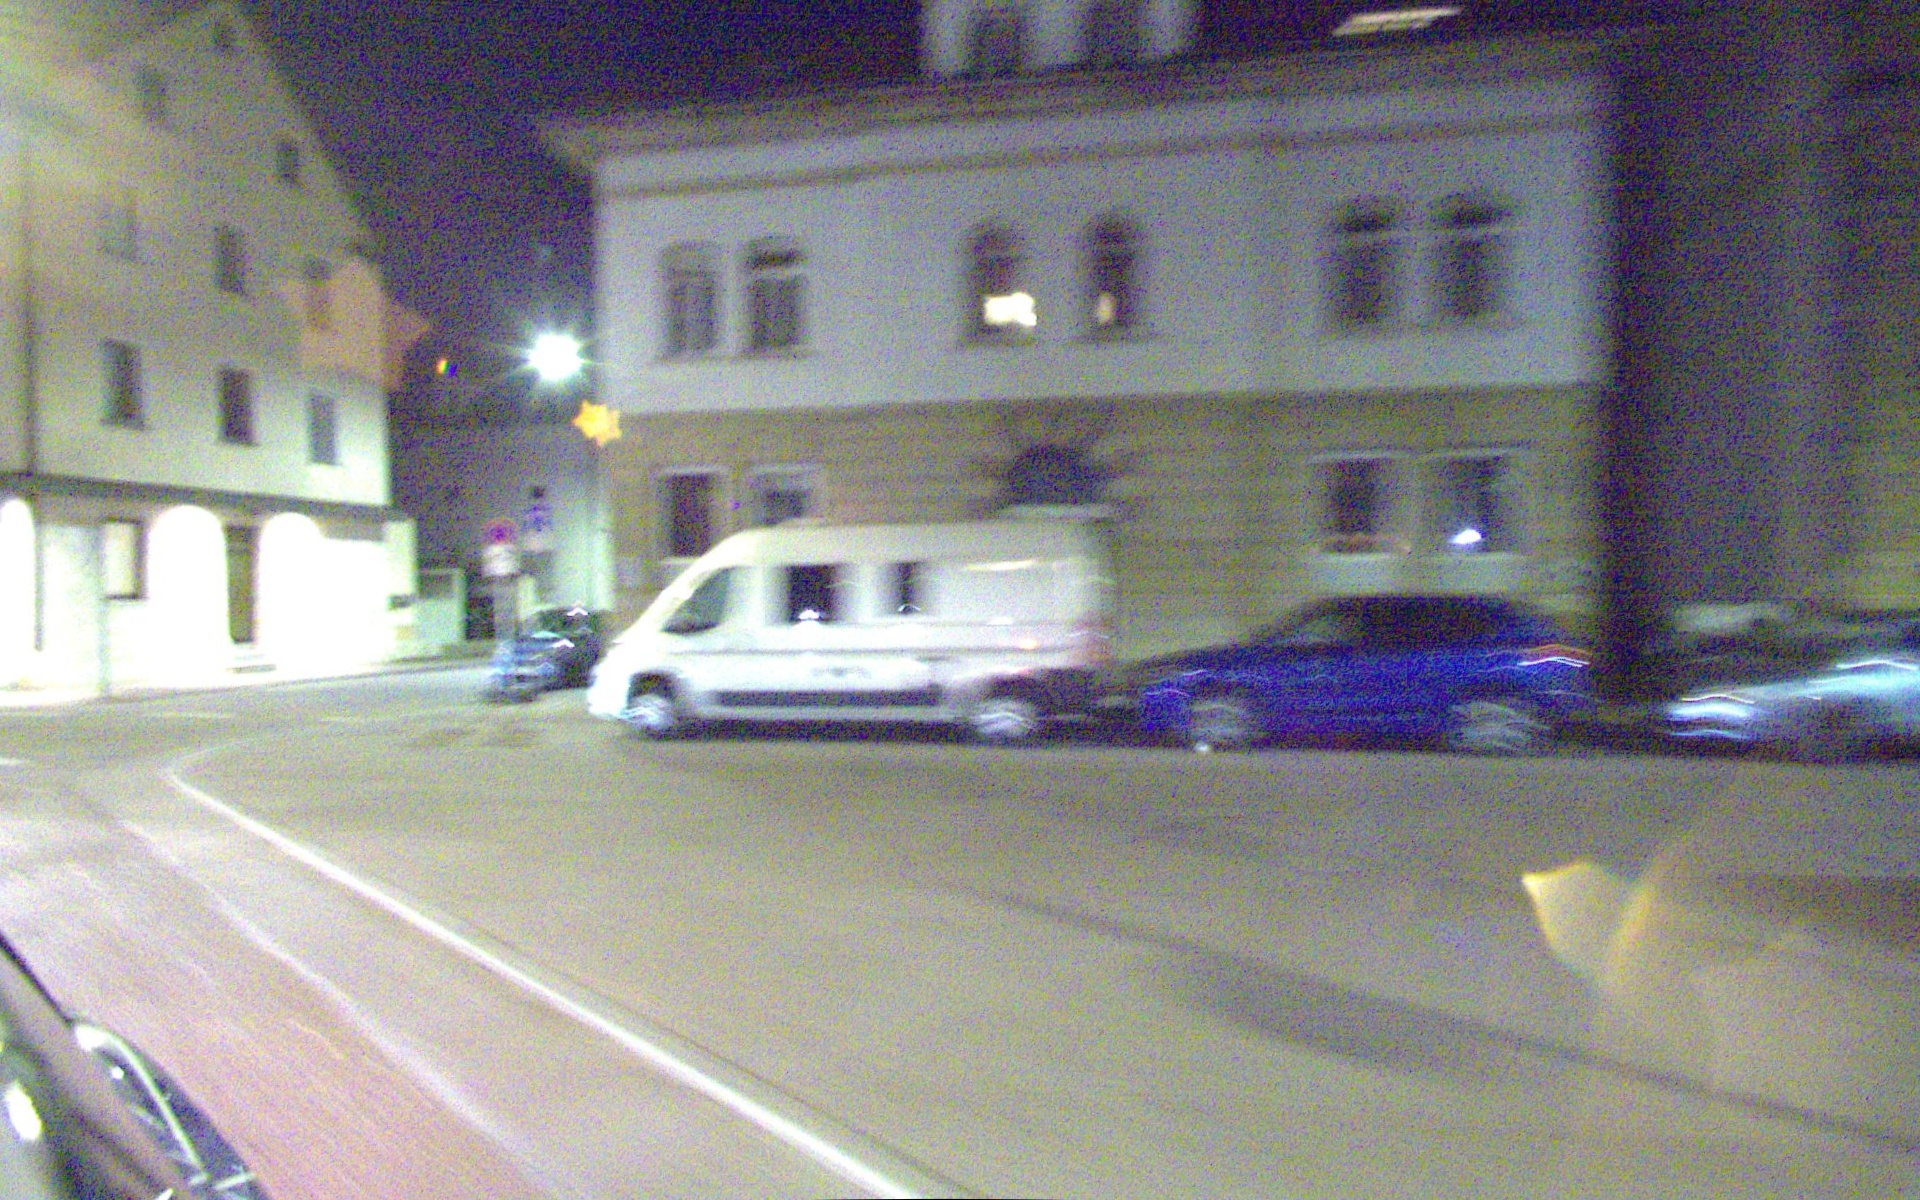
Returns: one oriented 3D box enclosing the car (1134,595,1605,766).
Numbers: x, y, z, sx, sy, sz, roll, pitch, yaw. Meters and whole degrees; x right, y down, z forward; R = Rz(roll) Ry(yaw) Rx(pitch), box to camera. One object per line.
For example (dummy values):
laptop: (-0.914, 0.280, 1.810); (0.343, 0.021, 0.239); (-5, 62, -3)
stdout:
car: (4.070, 0.791, 10.834); (4.326, 1.603, 1.892); (0, -1, 10)

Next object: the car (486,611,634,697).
car: (-7.798, 0.994, 19.940); (1.473, 1.524, 2.810); (0, 0, 10)

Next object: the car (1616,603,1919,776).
car: (9.327, 0.791, 9.762); (4.680, 1.518, 1.842); (0, -1, 4)

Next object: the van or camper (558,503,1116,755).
van or camper: (-1.291, 0.336, 11.871); (6.157, 2.555, 2.158); (0, -2, 10)
